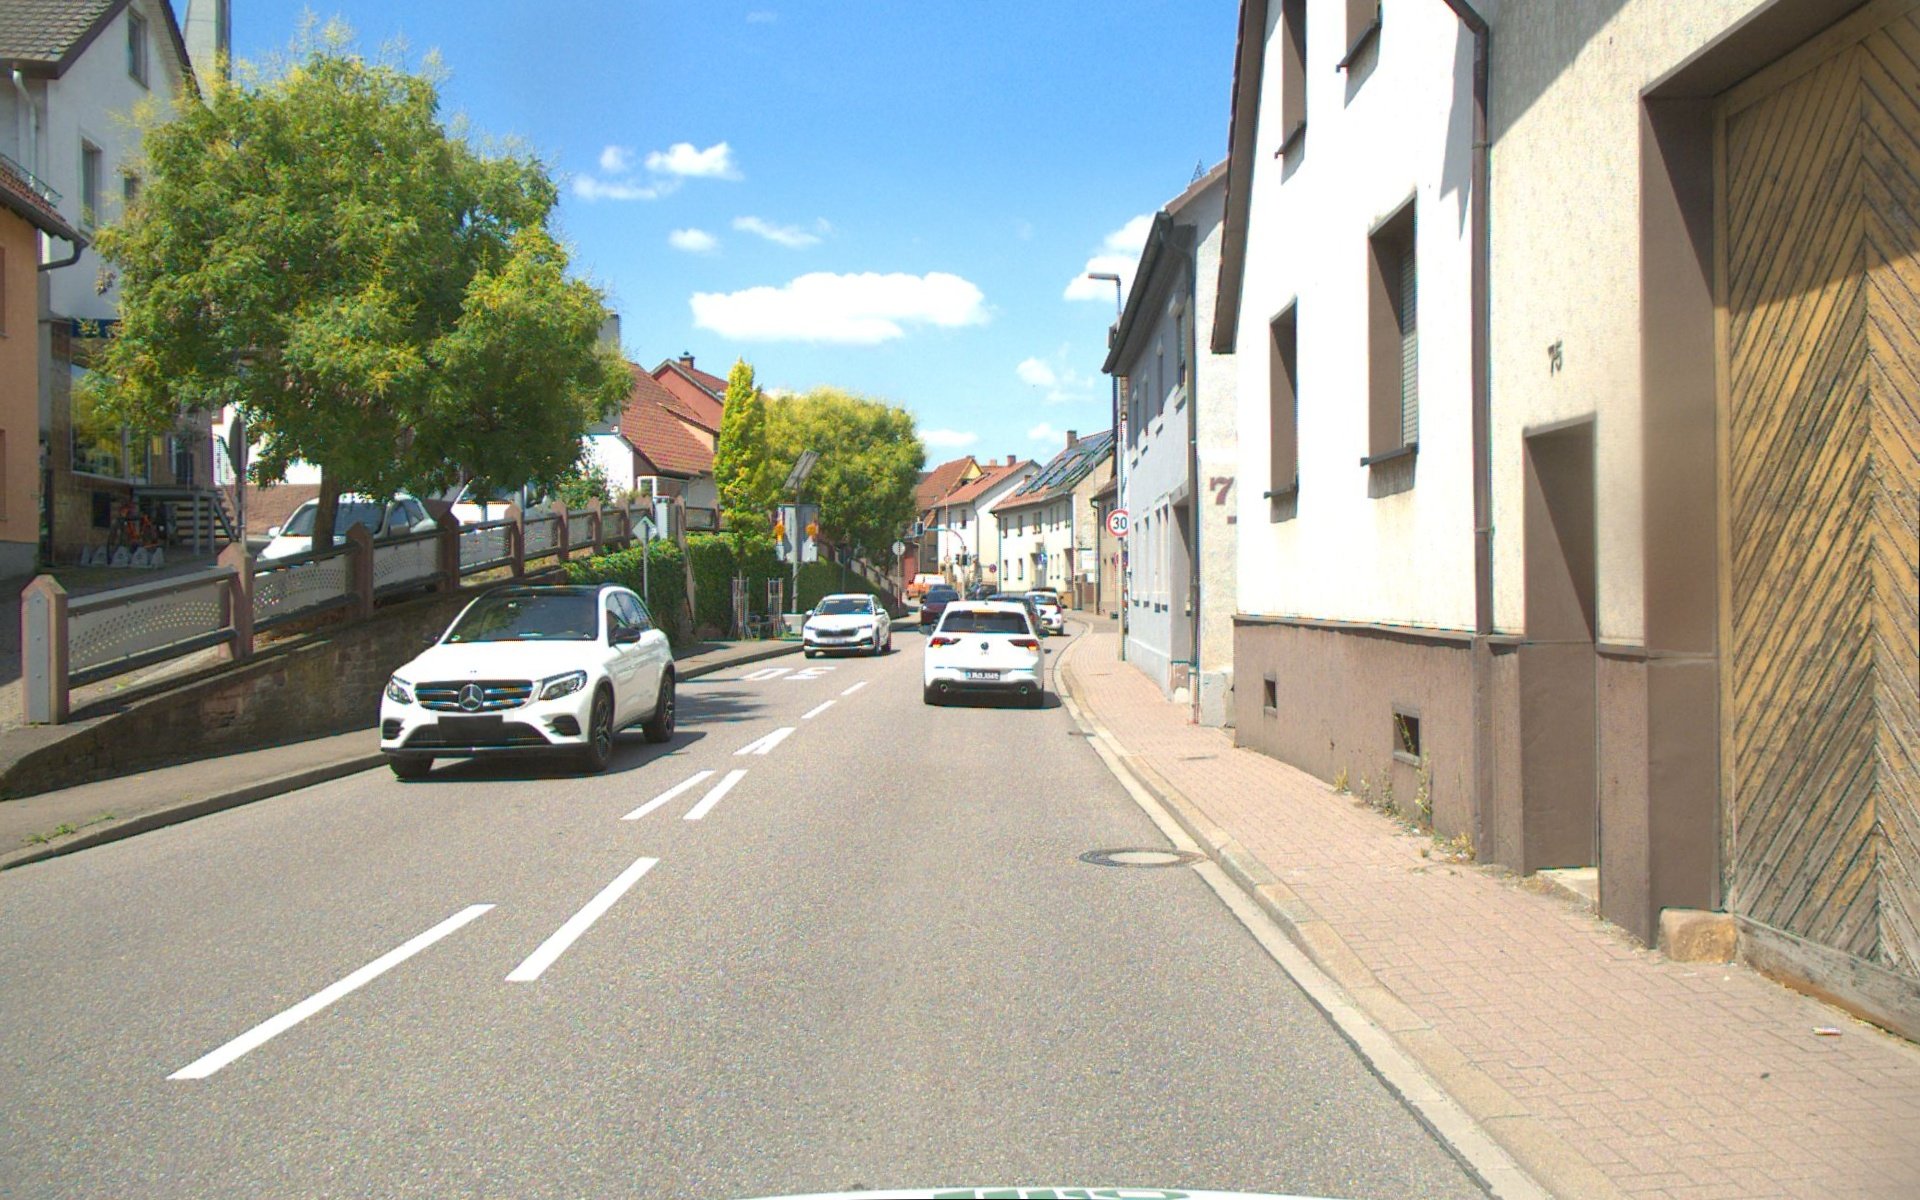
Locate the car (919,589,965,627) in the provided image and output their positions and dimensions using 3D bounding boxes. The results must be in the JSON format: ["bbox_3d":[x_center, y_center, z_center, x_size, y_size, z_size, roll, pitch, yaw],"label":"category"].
[{"bbox_3d":[-0.709,0.302,68.305,1.583,1.469,3.803,-2,0,3],"label":"car"}]

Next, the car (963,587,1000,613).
[{"bbox_3d":[1.314,-0.020,104.307,1.742,1.565,3.992,0,0,-9],"label":"car"}]

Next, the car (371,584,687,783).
[{"bbox_3d":[-3.926,0.679,15.889,1.804,1.607,4.446,-1,0,1],"label":"car"}]

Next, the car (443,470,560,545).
[{"bbox_3d":[-9.693,-2.007,35.247,1.545,1.385,3.857,0,6,-2],"label":"car"}]

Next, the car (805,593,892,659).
[{"bbox_3d":[-2.678,0.596,40.525,1.776,1.472,4.430,-2,0,0],"label":"car"}]

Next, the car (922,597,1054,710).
[{"bbox_3d":[0.375,0.727,24.613,1.771,1.493,4.000,1,0,0],"label":"car"}]

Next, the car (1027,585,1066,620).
[{"bbox_3d":[3.994,0.109,76.871,1.738,1.565,4.001,0,0,2],"label":"car"}]

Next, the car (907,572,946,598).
[{"bbox_3d":[-2.424,-1.061,118.662,1.748,1.796,3.980,0,0,-18],"label":"car"}]

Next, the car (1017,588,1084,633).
[{"bbox_3d":[3.244,0.359,58.828,1.769,1.493,4.003,1,0,12],"label":"car"}]

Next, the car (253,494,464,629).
[{"bbox_3d":[-8.331,-0.616,23.266,1.659,1.569,3.857,0,6,-2],"label":"car"}]
